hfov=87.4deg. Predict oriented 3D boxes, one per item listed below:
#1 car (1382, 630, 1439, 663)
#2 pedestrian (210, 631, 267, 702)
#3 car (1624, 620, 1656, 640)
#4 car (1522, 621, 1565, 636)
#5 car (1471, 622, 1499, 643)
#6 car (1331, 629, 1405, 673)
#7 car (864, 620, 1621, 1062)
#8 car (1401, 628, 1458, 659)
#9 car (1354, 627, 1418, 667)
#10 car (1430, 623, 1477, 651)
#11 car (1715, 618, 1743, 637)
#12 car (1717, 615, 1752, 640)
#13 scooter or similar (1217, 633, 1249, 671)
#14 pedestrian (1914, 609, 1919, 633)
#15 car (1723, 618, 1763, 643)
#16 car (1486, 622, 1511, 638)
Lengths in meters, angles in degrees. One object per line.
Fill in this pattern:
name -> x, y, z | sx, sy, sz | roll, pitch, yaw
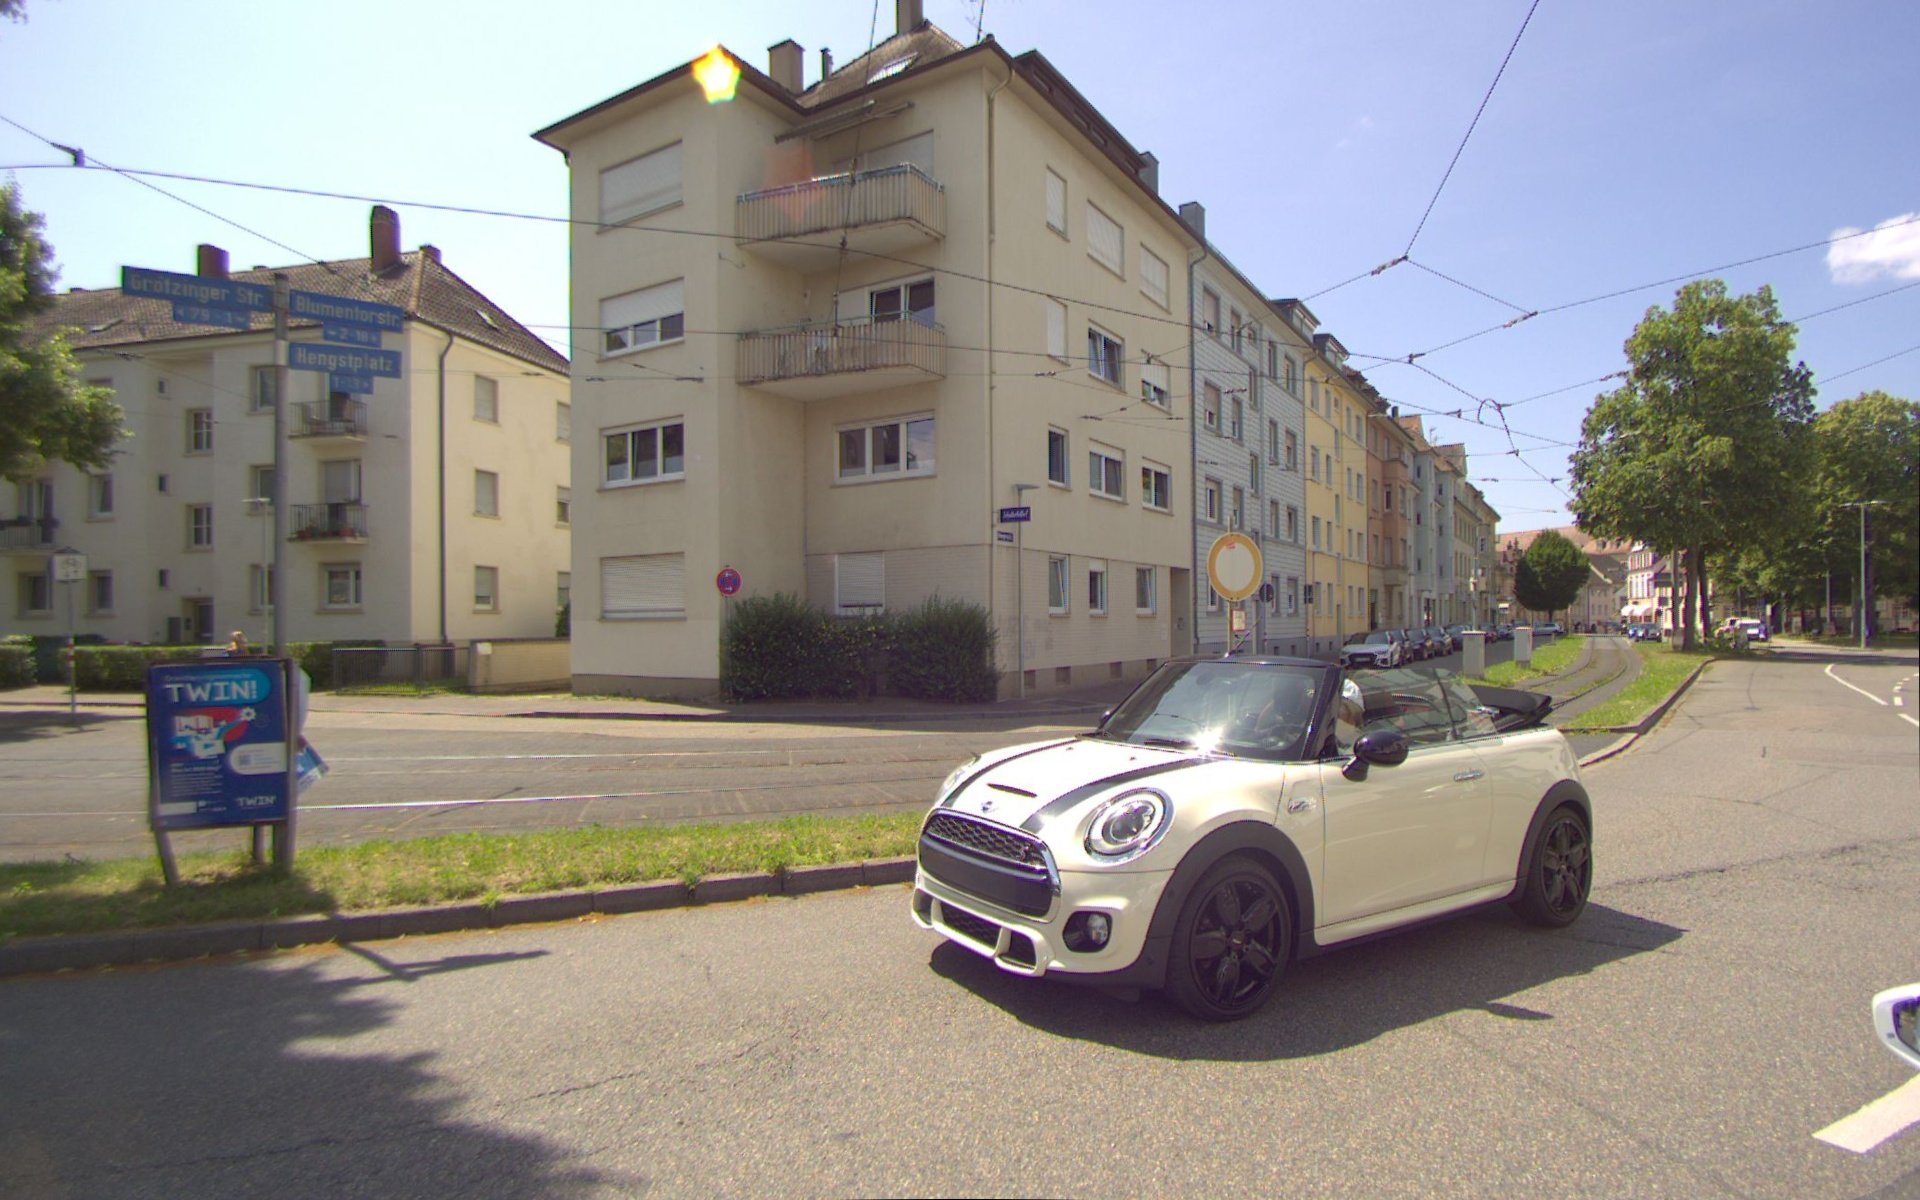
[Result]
car -> 20.901, 2.134, 46.530 | 1.806, 1.418, 4.131 | -2, -2, 33
pedestrian -> -16.633, 1.523, 23.174 | 0.729, 1.580, 0.778 | 0, 0, 12
car -> 54.998, 2.407, 81.274 | 1.876, 1.554, 4.235 | 1, -1, 31
car -> 66.149, 3.230, 113.997 | 4.141, 1.524, 2.000 | -3, -2, 29
car -> 40.178, 2.467, 76.784 | 1.550, 1.470, 3.616 | -3, -2, 33
car -> 15.381, 1.898, 37.756 | 1.900, 1.470, 4.367 | -4, -3, 31
car -> 1.559, 0.861, 5.159 | 3.707, 1.483, 1.763 | 1, -1, -33
car -> 23.859, 2.184, 50.975 | 1.902, 1.416, 4.849 | -3, -2, 34
car -> 18.034, 1.963, 42.448 | 1.900, 1.525, 4.317 | -2, -2, 31
car -> 29.245, 2.163, 59.419 | 1.901, 1.510, 4.850 | -3, -2, 33
car -> 69.928, 2.501, 91.355 | 1.759, 1.645, 4.472 | 0, -1, 34
car -> 65.595, 2.280, 85.154 | 2.021, 2.029, 5.233 | 0, -1, 34
scooter or similar -> 9.234, 1.769, 33.945 | 0.629, 1.239, 1.318 | 1, -3, 33
pedestrian -> 77.655, 1.707, 81.212 | 0.679, 1.936, 0.741 | -1, 1, -42
car -> 60.880, 2.351, 78.159 | 1.966, 1.850, 4.411 | 0, -1, 32
car -> 48.117, 2.674, 89.755 | 1.663, 1.378, 3.847 | -3, -2, 33
